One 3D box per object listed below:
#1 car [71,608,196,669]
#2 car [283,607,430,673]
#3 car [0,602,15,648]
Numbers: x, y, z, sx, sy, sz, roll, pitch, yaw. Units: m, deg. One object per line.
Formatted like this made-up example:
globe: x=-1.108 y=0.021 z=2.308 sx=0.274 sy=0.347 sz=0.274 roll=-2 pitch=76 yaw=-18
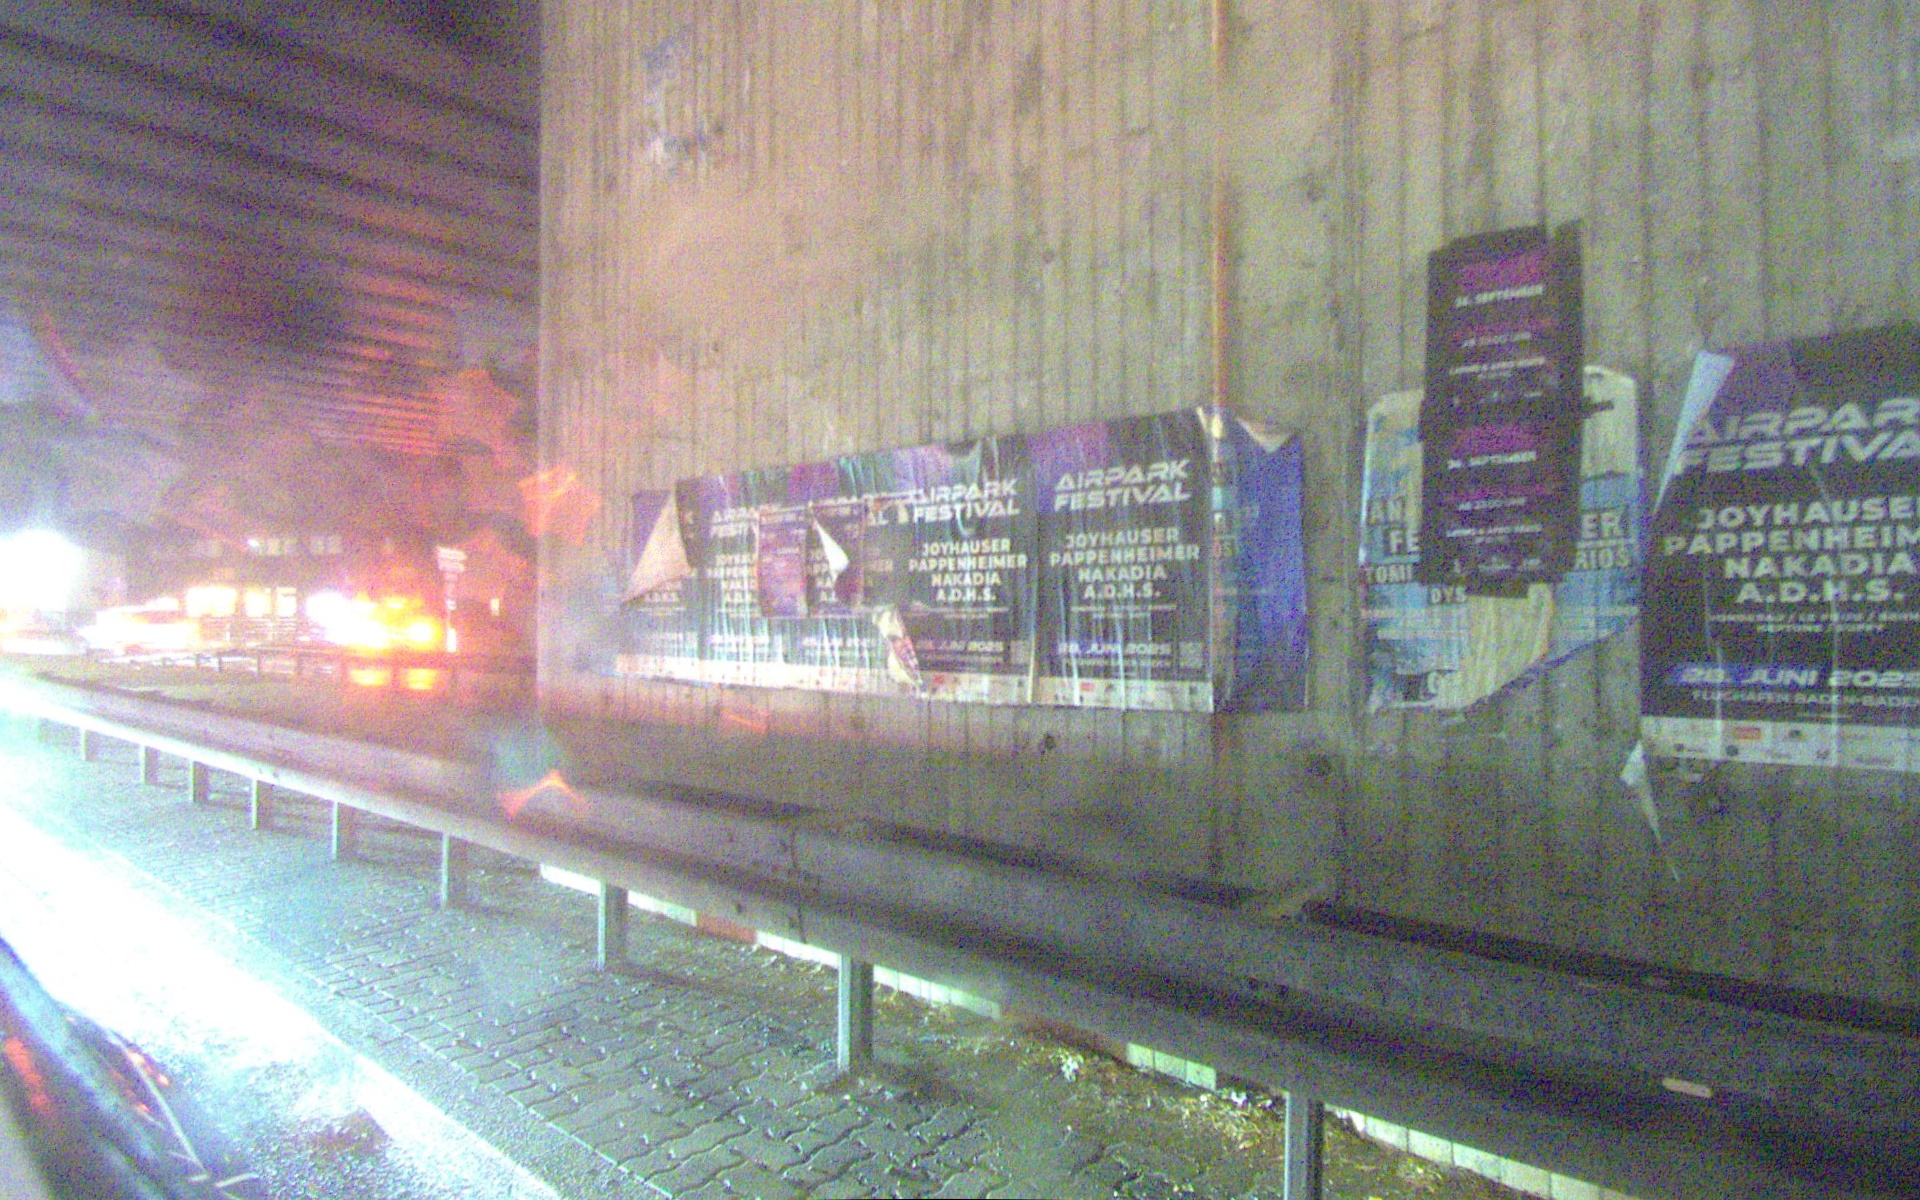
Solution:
car: x=-25.843 y=1.156 z=31.611 sx=4.387 sy=1.754 sz=1.888 roll=-1 pitch=0 yaw=35
car: x=-17.594 y=1.126 z=29.453 sx=4.491 sy=1.763 sz=1.840 roll=-1 pitch=0 yaw=32
car: x=-38.321 y=0.971 z=38.801 sx=4.903 sy=1.754 sz=1.949 roll=-1 pitch=0 yaw=33
